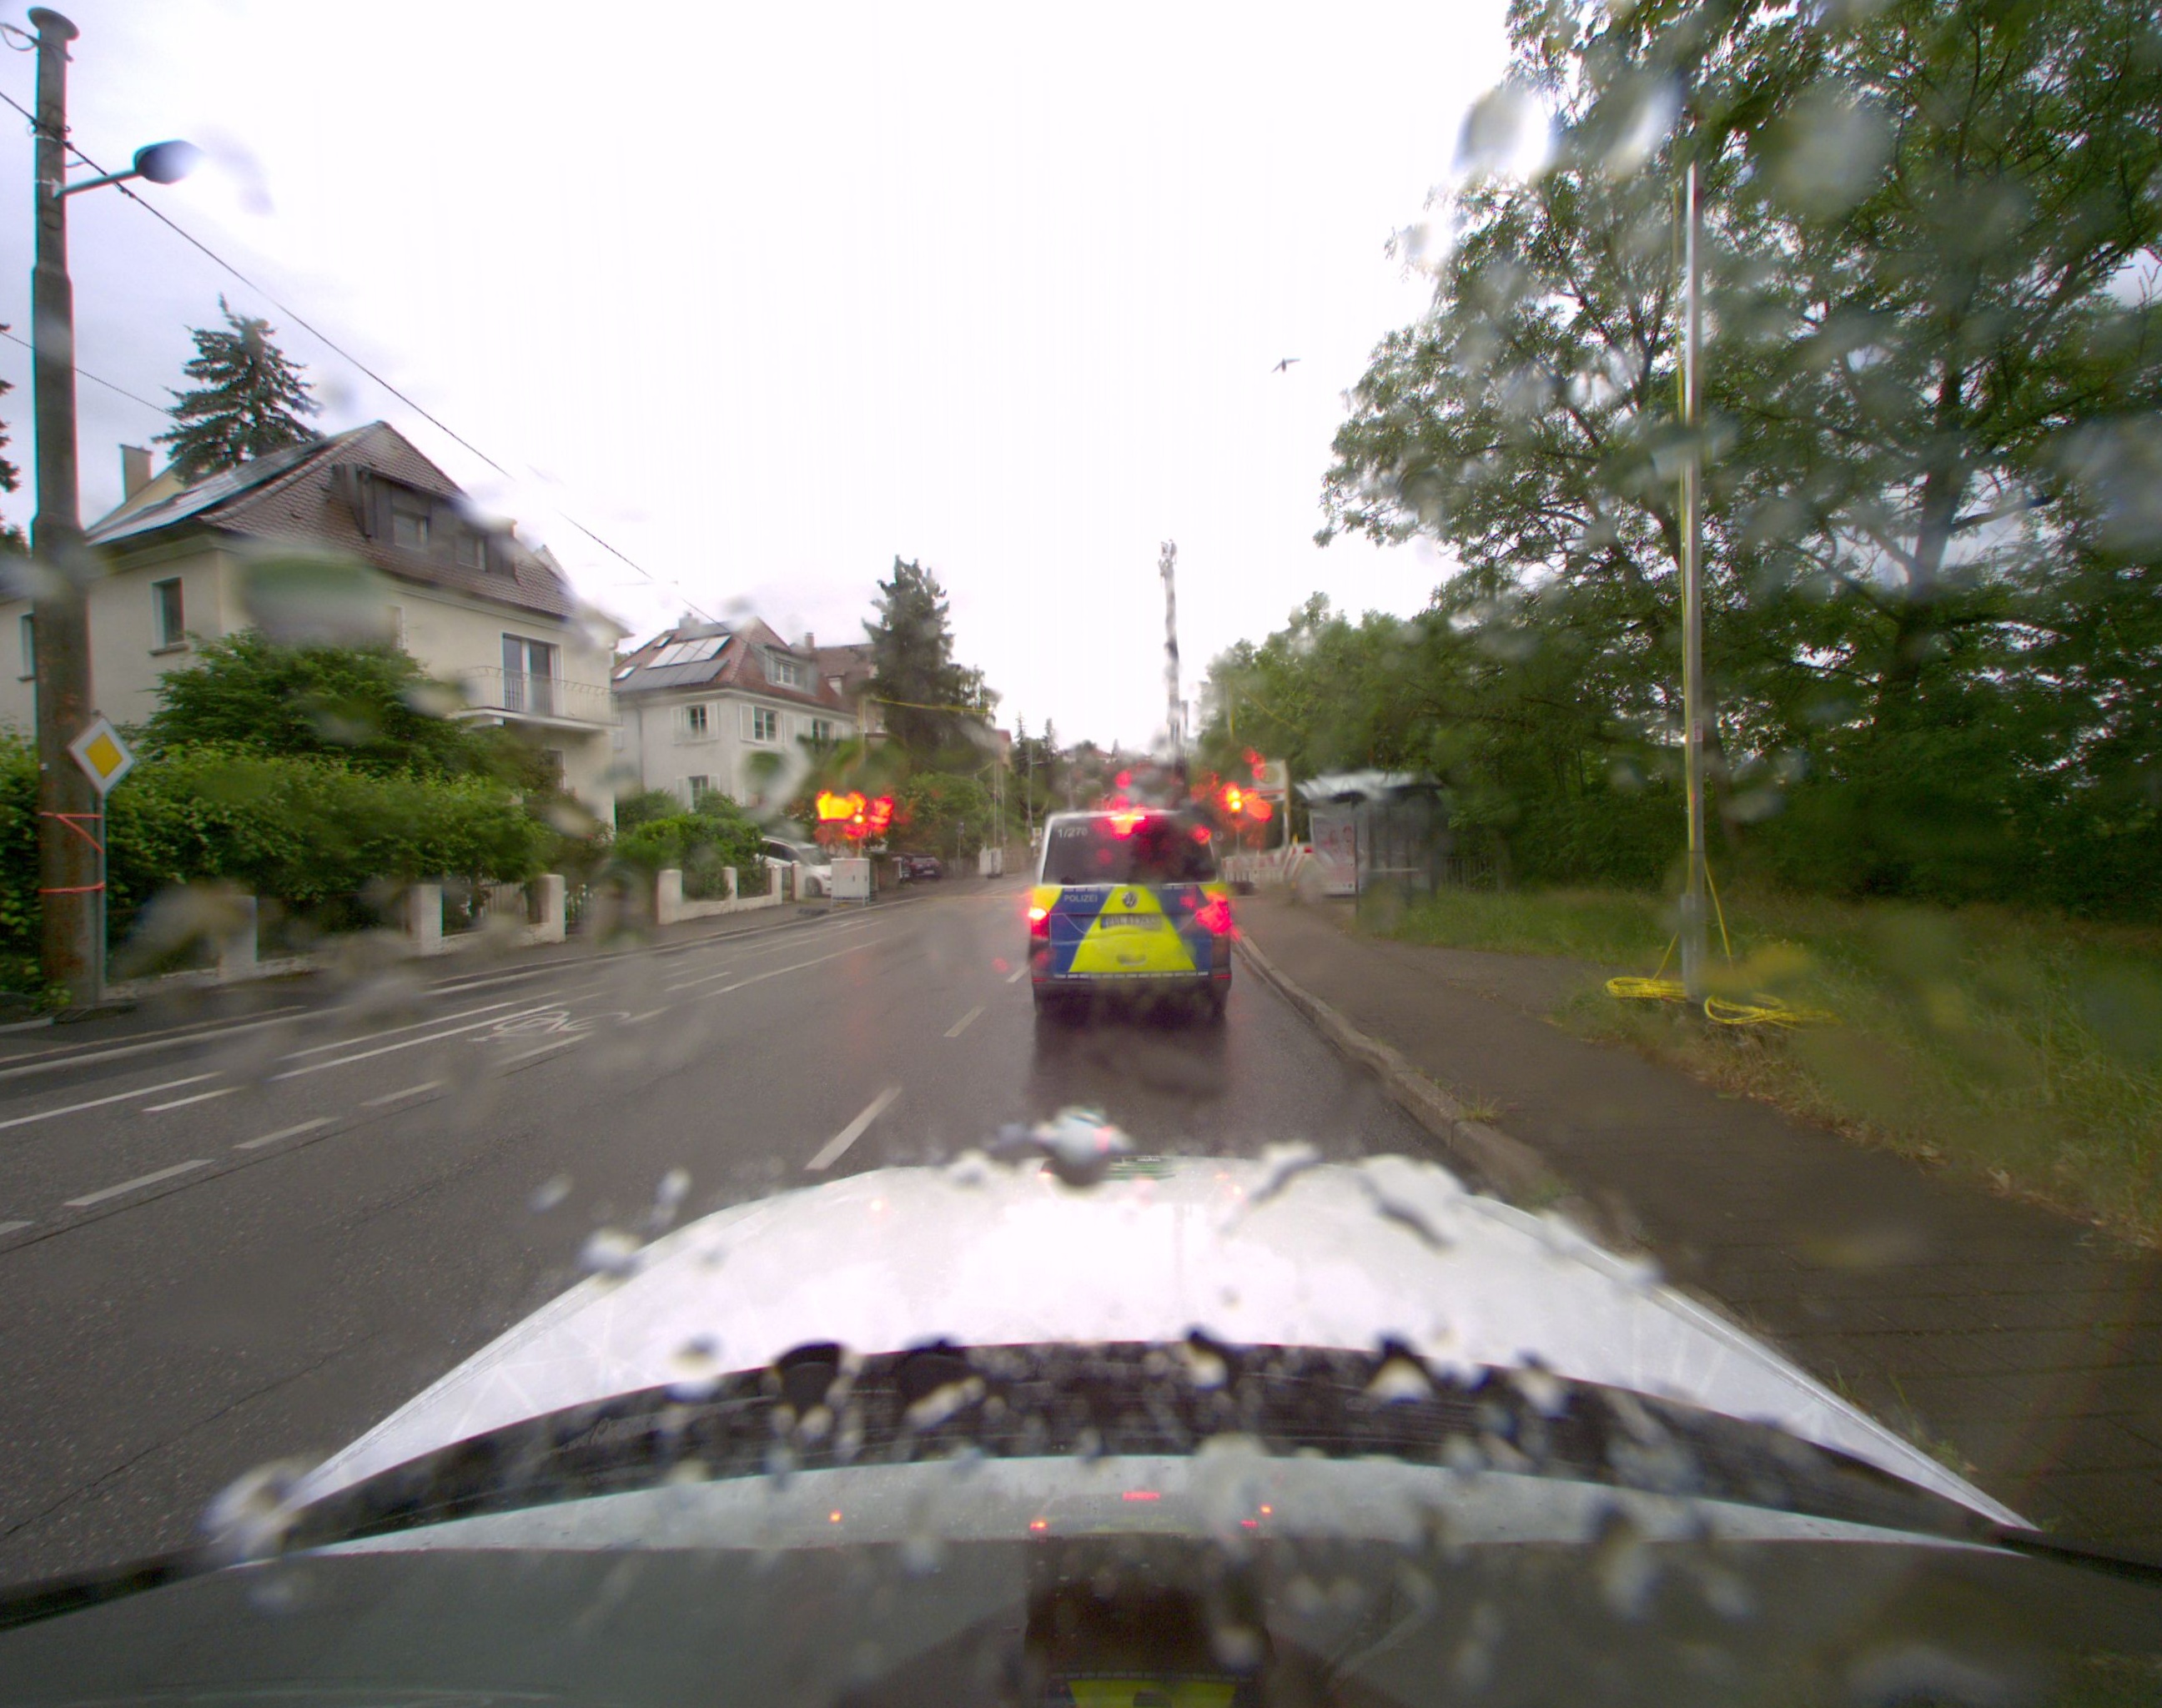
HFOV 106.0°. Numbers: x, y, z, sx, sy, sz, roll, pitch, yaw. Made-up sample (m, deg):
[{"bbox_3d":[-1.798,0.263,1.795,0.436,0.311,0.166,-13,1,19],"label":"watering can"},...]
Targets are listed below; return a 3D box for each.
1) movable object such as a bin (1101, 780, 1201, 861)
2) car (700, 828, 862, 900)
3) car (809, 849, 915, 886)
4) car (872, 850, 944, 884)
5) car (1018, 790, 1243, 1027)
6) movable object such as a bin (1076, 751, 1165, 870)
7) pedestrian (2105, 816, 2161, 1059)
[{"bbox_3d":[4.918,-2.166,55.930,3.646,5.066,7.209,-3,-1,34],"label":"movable object such as a bin"},{"bbox_3d":[-10.299,0.284,28.024,4.927,1.616,1.872,9,4,15],"label":"car"},{"bbox_3d":[-9.431,0.595,35.235,3.958,1.525,1.948,-1,-1,15],"label":"car"},{"bbox_3d":[-8.144,0.584,38.116,1.795,1.525,3.955,0,0,-37],"label":"car"},{"bbox_3d":[0.489,0.481,9.147,1.901,2.010,4.441,0,-1,2],"label":"car"},{"bbox_3d":[1.645,-1.596,31.700,2.862,4.170,4.499,-2,1,9],"label":"movable object such as a bin"},{"bbox_3d":[7.613,0.546,5.472,0.742,1.604,0.737,-1,-1,39],"label":"pedestrian"}]
